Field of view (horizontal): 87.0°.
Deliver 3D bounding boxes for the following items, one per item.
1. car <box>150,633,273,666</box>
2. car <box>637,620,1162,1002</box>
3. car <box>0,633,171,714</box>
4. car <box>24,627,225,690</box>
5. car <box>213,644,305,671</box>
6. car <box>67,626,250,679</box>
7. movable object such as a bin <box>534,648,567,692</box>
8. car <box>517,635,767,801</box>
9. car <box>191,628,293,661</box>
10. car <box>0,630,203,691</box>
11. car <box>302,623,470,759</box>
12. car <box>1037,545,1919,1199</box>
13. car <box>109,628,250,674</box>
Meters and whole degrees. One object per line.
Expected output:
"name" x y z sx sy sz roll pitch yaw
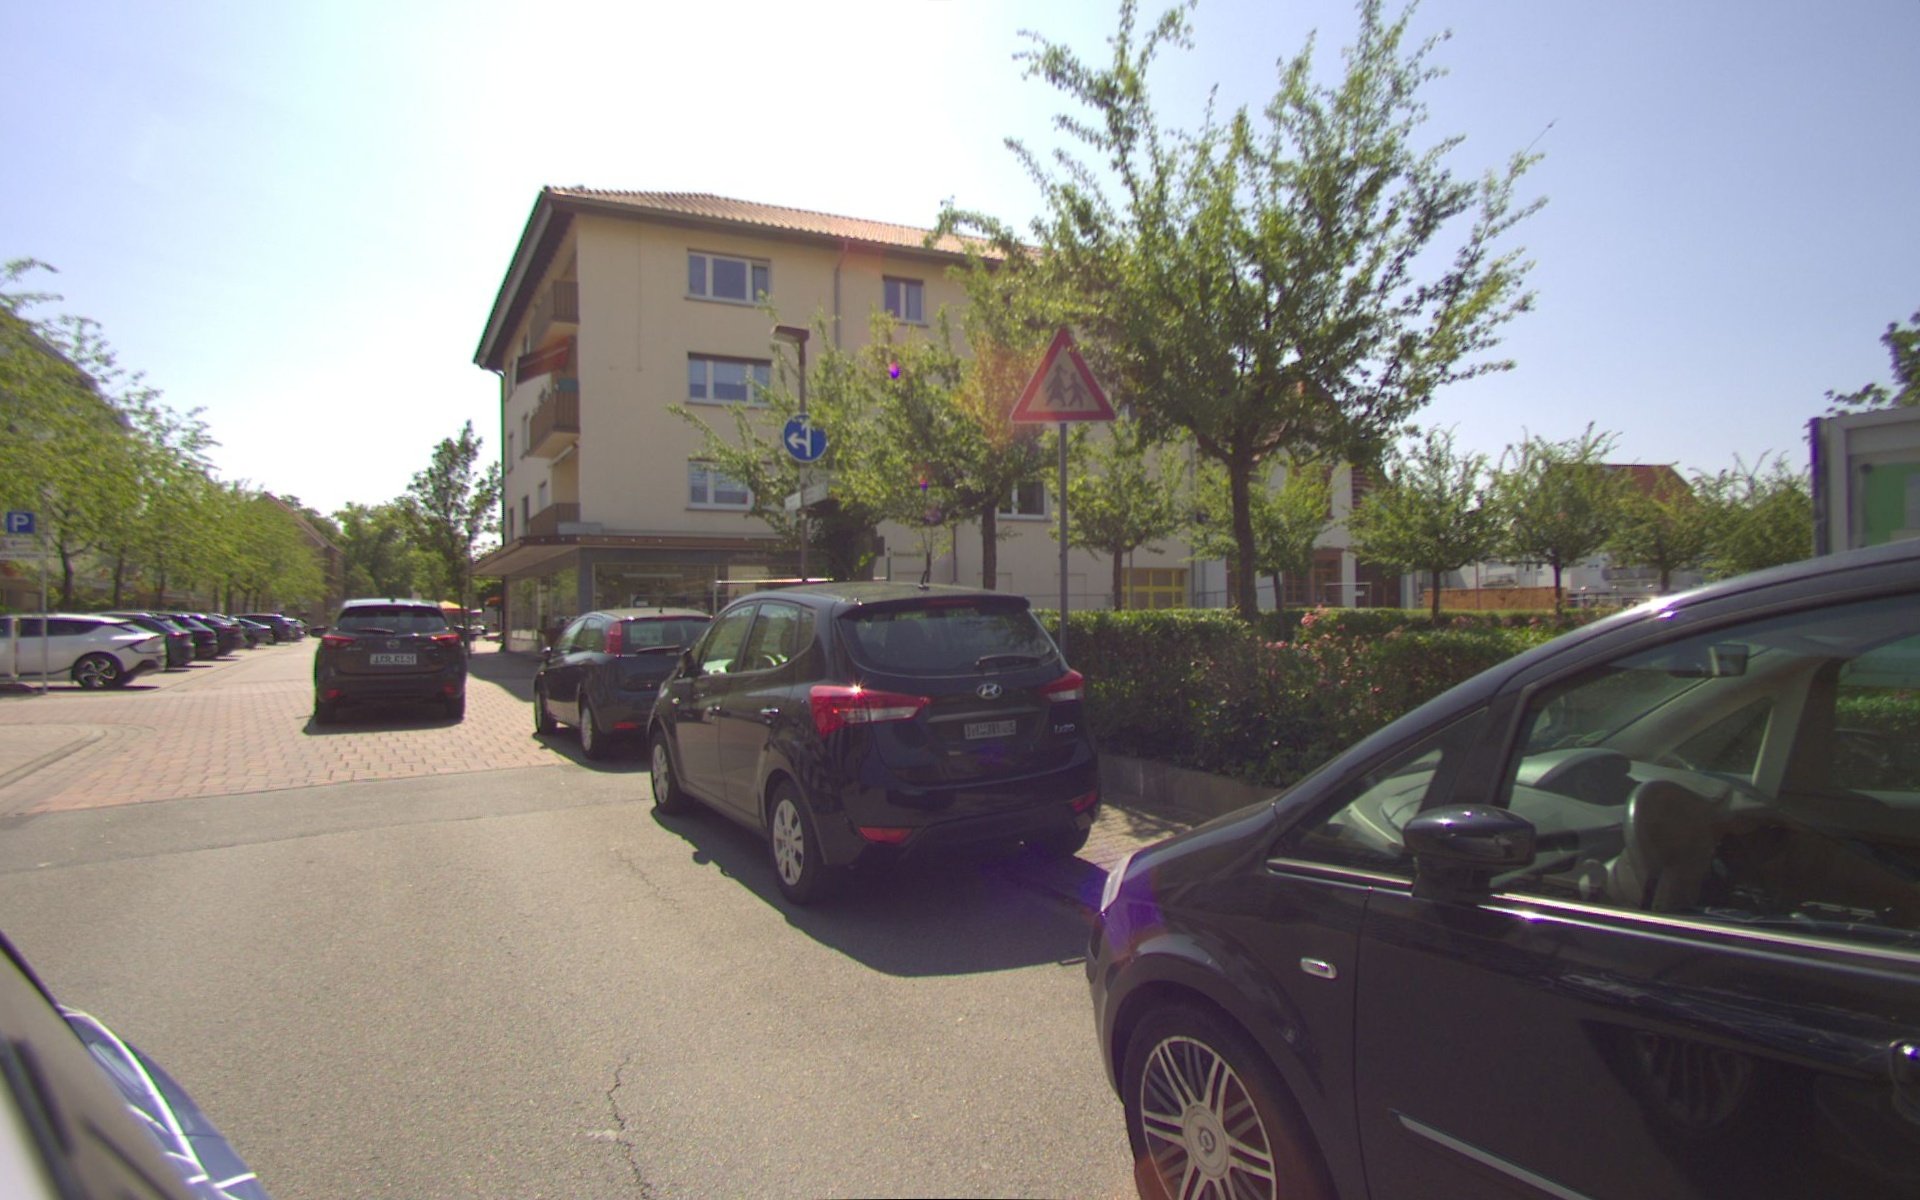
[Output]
"car" -35.035 2.325 47.468 1.890 1.474 4.326 -2 -4 42
"car" -0.742 0.966 6.519 1.790 1.617 4.036 0 -2 -29
"car" -19.044 1.471 20.623 4.378 1.588 1.794 3 -3 -29
"car" -24.179 1.679 29.518 4.220 1.694 2.006 2 -3 -32
"car" -43.444 3.558 62.834 4.510 1.555 1.812 0 -2 -29
"car" -26.750 1.784 33.996 4.444 1.600 1.856 3 -3 -27
"movable object such as a bin" -10.498 1.780 25.953 0.646 1.078 0.665 0 -2 -36
"car" -3.736 1.167 11.432 1.679 1.508 3.867 1 -2 -34
"car" -37.451 2.325 52.927 4.184 1.630 1.762 2 -3 -30
"car" -22.840 1.620 27.075 3.889 1.545 1.829 3 -3 -31
"car" -8.461 1.194 14.852 1.855 1.681 4.165 1 -2 -31
"car" 1.872 0.758 1.442 1.615 1.641 3.779 1 -2 -31
"car" -29.273 1.936 38.125 3.971 1.624 1.686 3 -3 -31
